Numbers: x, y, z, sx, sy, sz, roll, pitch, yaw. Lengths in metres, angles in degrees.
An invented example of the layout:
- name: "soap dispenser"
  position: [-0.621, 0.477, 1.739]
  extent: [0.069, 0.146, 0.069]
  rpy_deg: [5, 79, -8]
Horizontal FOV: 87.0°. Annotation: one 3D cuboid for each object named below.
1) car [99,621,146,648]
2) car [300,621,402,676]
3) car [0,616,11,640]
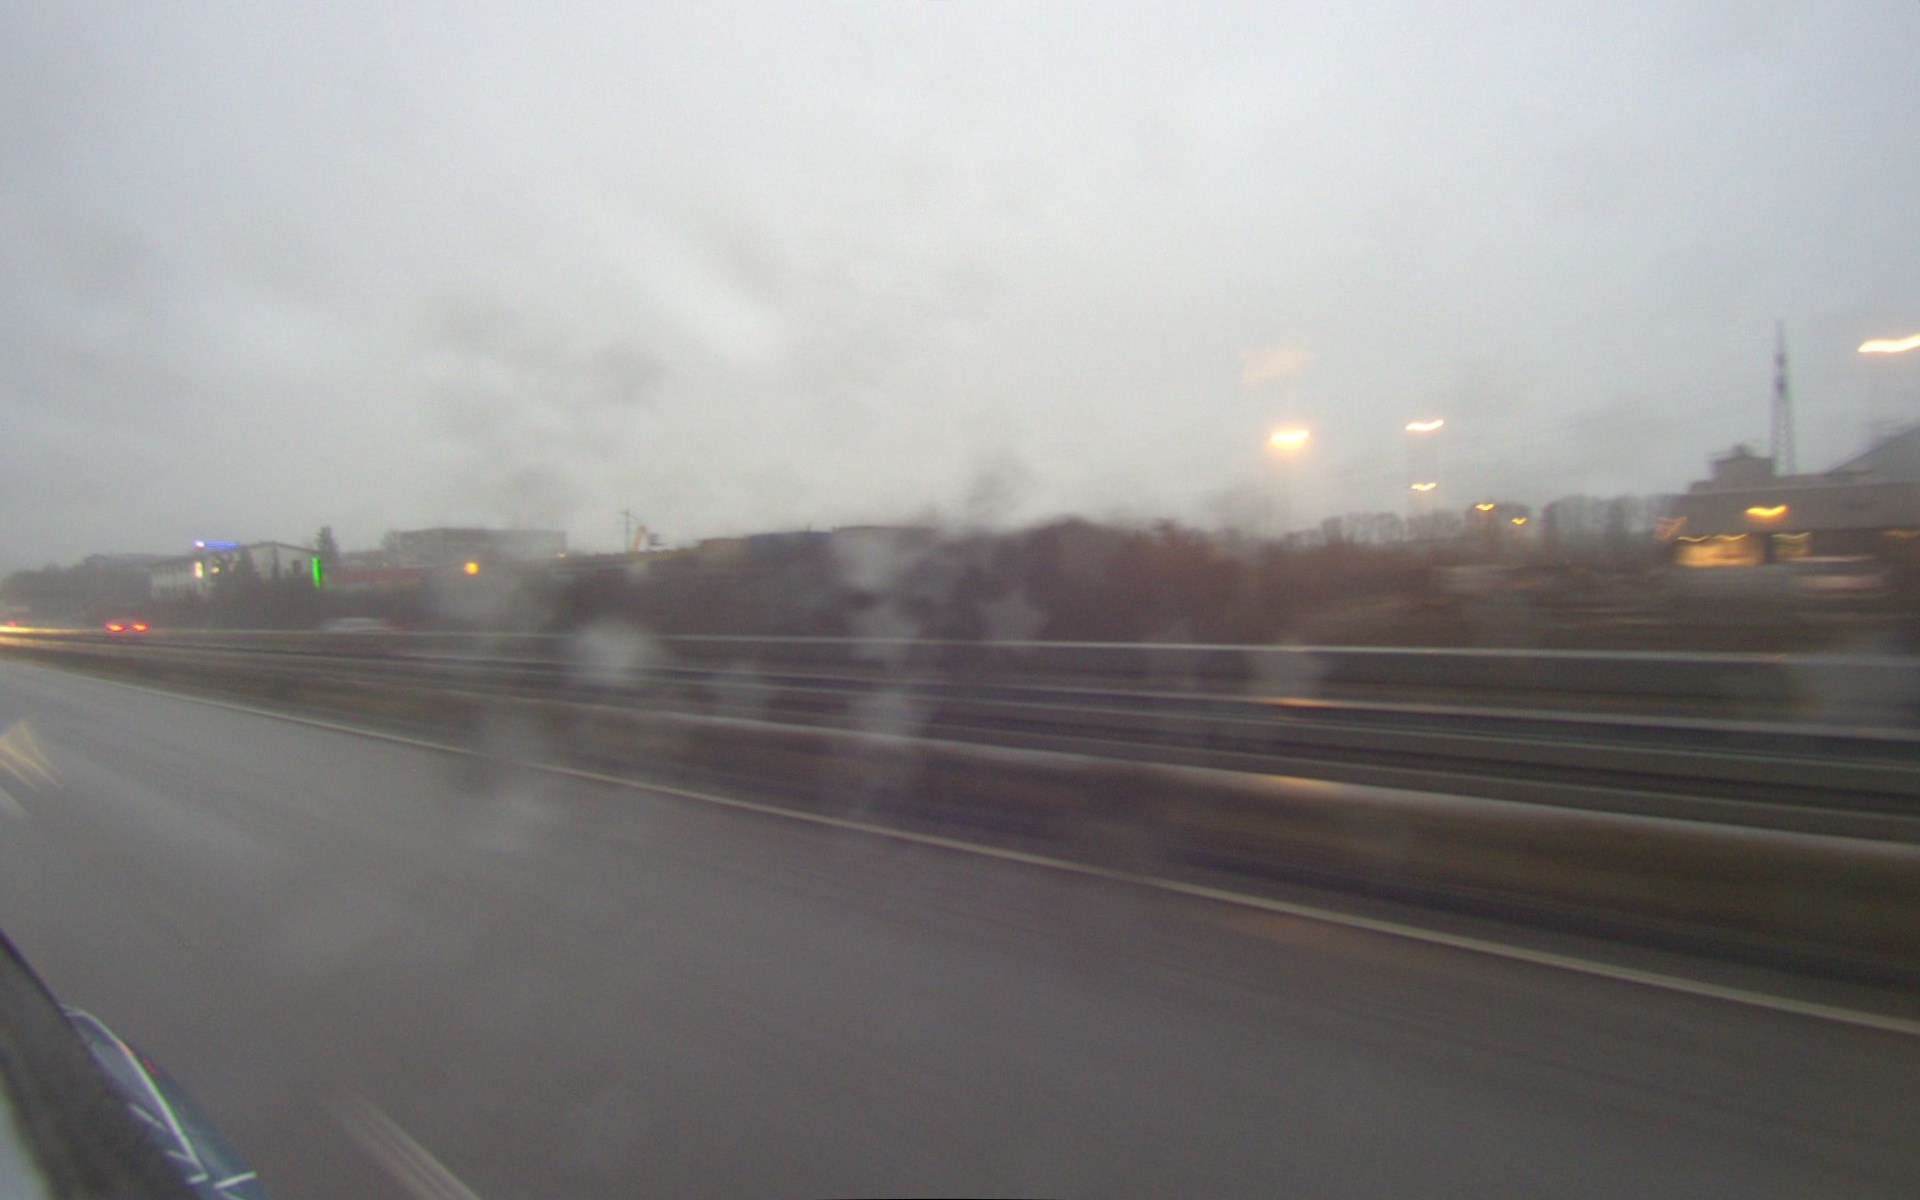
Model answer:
- name: "car"
  position: [-53.455, 2.211, 64.544]
  extent: [3.998, 1.652, 1.722]
  rpy_deg: [-1, -1, 41]
- name: "car"
  position: [-19.728, 1.512, 32.746]
  extent: [3.998, 1.652, 1.722]
  rpy_deg: [-1, -1, 41]
- name: "car"
  position: [-106.380, 3.054, 111.701]
  extent: [4.887, 2.313, 1.907]
  rpy_deg: [3, 3, 42]
